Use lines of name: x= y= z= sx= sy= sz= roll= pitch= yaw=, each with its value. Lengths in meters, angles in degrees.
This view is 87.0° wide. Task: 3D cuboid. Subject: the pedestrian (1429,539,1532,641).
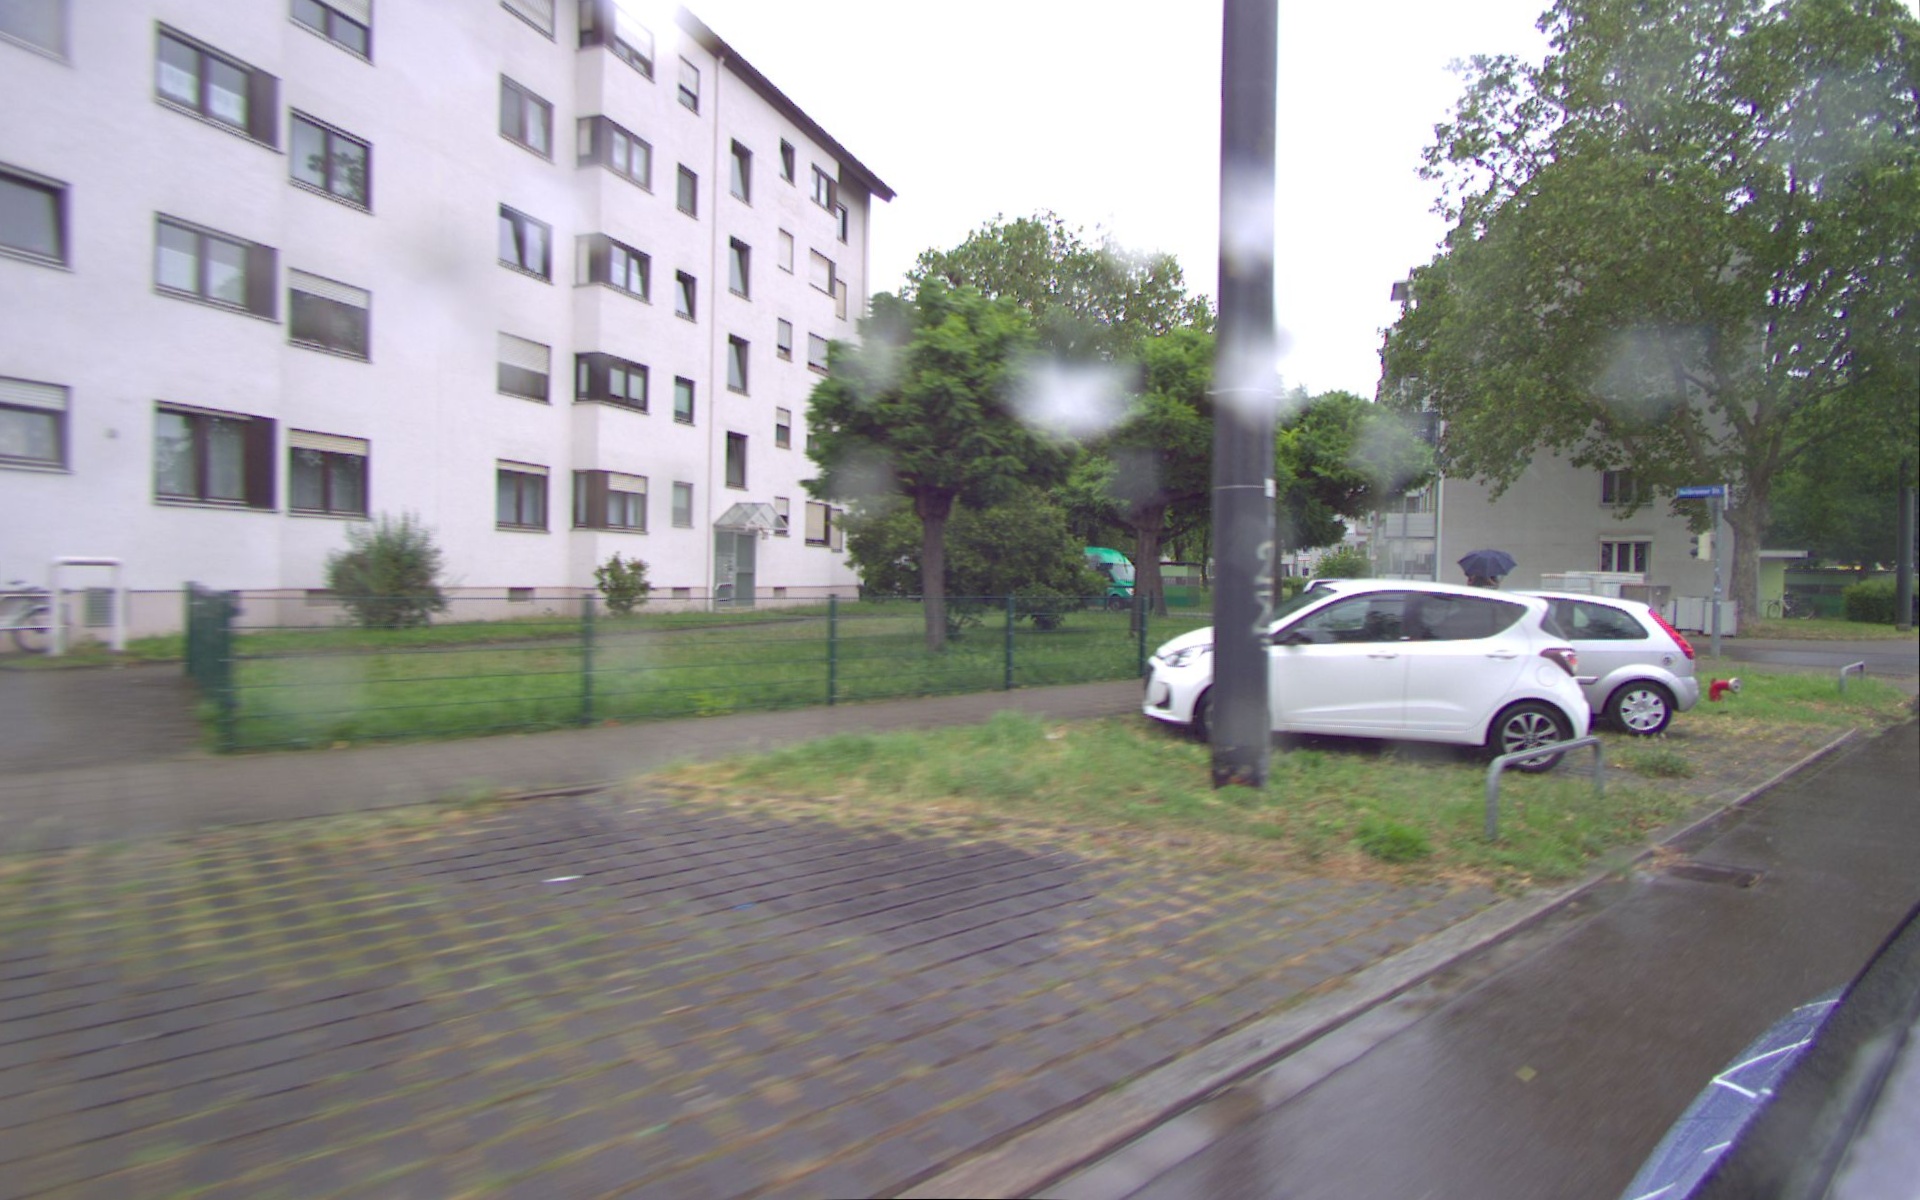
pedestrian: x=9.766 y=-0.194 z=18.992 sx=1.405 sy=1.836 sz=1.104 roll=0 pitch=1 yaw=-30

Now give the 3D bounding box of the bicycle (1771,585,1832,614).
bicycle: x=35.065 y=-0.037 z=42.204 sx=1.841 sy=1.156 sz=0.529 roll=2 pitch=1 yaw=25

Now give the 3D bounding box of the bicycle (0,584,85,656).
bicycle: x=-11.873 y=0.248 z=12.504 sx=0.486 sy=0.858 sz=1.559 roll=2 pitch=2 yaw=24

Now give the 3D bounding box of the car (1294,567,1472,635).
car: x=11.919 y=-0.029 z=28.788 sx=1.837 sy=1.701 sz=4.305 roll=0 pitch=3 yaw=-38

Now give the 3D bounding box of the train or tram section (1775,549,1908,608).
train or tram section: x=53.990 y=-1.355 z=62.215 sx=2.708 sy=3.380 sz=6.396 roll=2 pitch=2 yaw=4

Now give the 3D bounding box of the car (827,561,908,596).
car: x=-4.434 y=-1.028 z=48.204 sx=1.656 sy=1.524 sz=4.302 roll=-1 pitch=3 yaw=-41

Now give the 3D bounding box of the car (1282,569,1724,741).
car: x=5.747 y=0.500 z=11.288 sx=3.942 sy=1.526 sz=1.777 roll=2 pitch=4 yaw=15

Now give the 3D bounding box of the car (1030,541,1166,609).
car: x=5.985 y=-1.149 z=44.746 sx=2.147 sy=2.813 sz=6.136 roll=0 pitch=2 yaw=-38

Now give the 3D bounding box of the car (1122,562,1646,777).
car: x=3.481 y=0.494 z=9.041 sx=3.937 sy=1.526 sz=1.701 roll=2 pitch=4 yaw=11
